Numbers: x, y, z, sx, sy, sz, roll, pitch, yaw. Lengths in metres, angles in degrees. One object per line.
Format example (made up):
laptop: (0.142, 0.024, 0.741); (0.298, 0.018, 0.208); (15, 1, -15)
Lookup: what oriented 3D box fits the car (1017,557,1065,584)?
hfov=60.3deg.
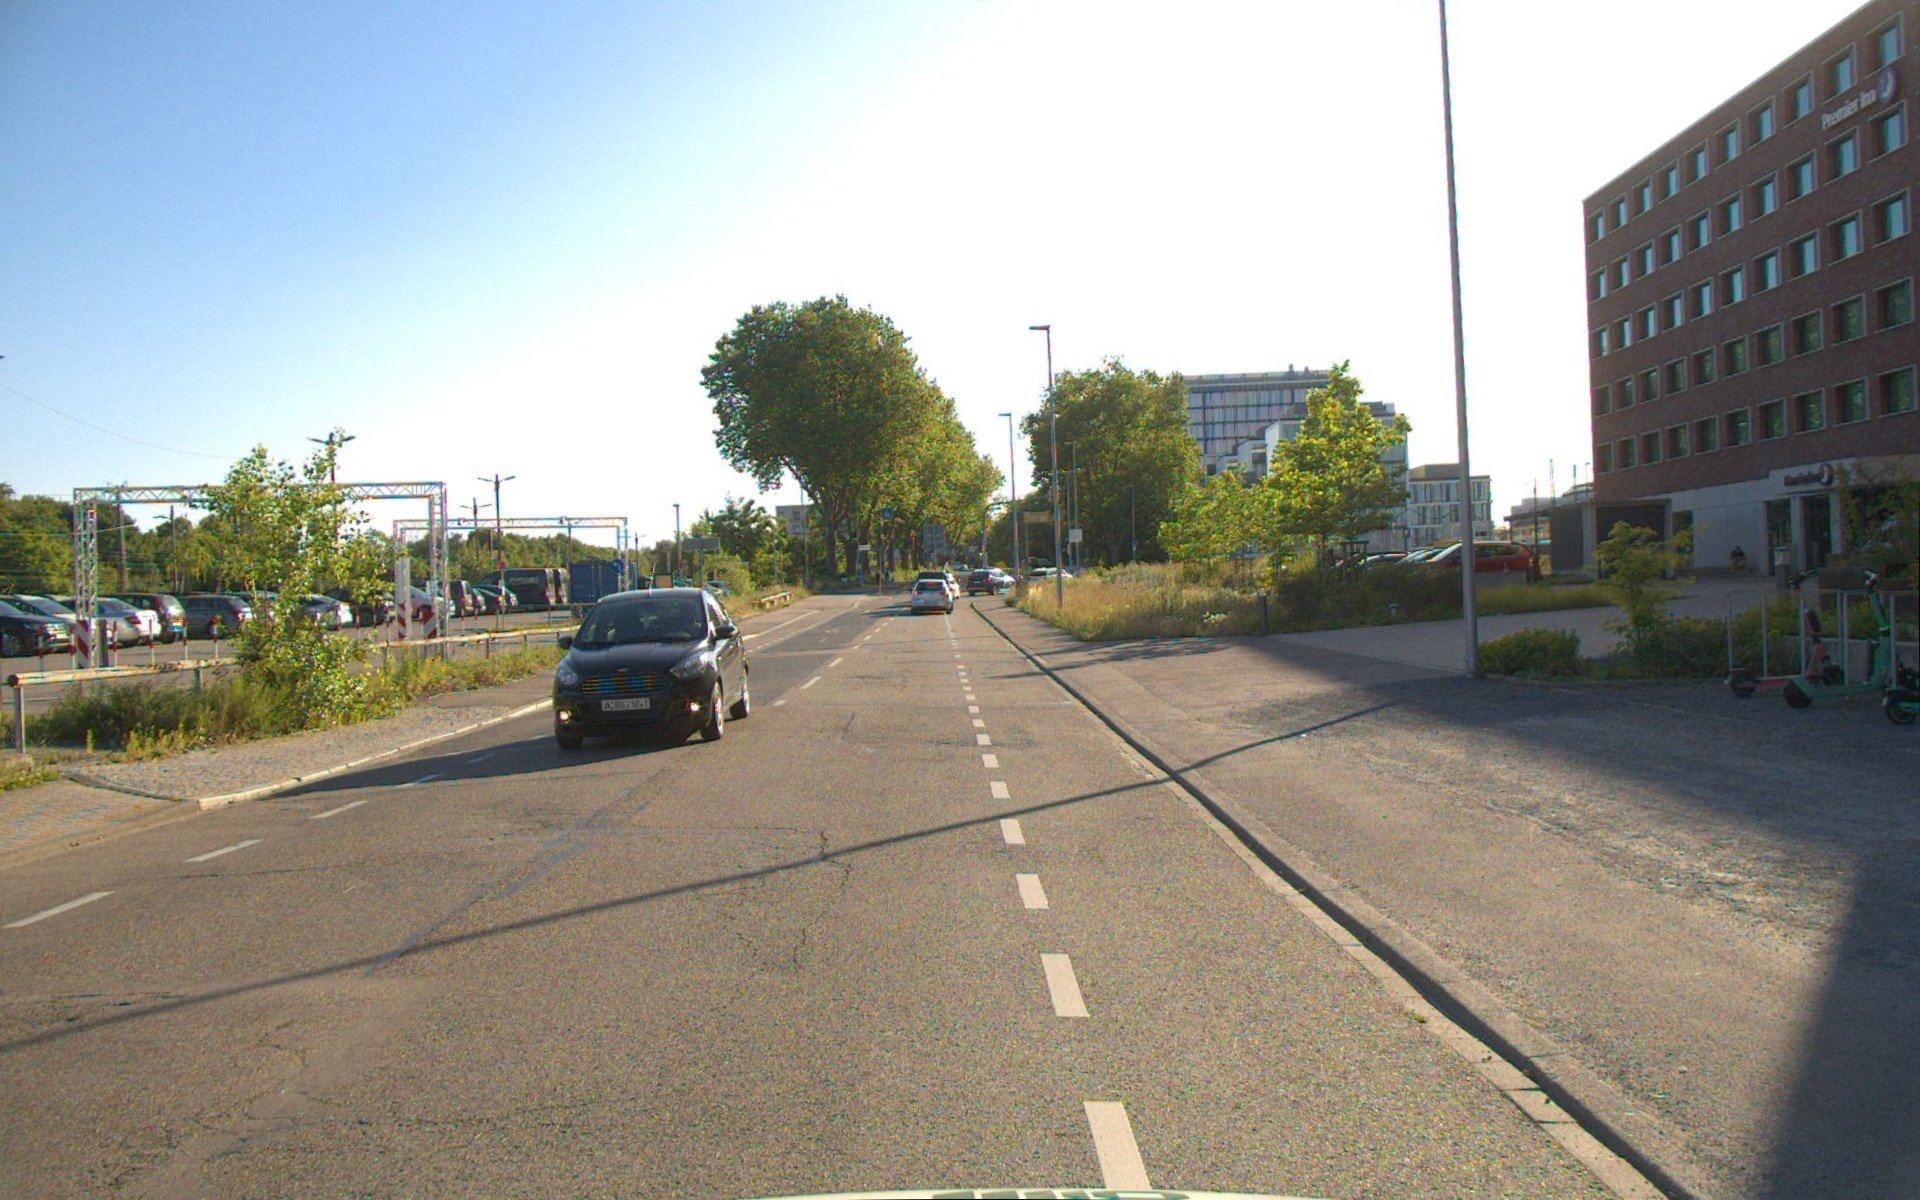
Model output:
car: (5.363, -1.943, 108.741); (2.118, 1.713, 4.002); (-1, 0, 18)

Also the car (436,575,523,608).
car: (-26.169, -0.466, 90.184); (4.122, 1.646, 1.878); (-2, 1, -2)

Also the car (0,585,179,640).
car: (-25.205, 0.342, 47.913); (4.233, 1.417, 1.878); (-2, 1, 0)

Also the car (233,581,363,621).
car: (-25.582, 0.034, 63.991); (4.234, 1.400, 1.878); (-2, 1, -2)

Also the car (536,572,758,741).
car: (-3.248, 0.523, 17.884); (1.620, 1.529, 3.999); (-3, 0, -1)

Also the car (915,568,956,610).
car: (-1.126, -0.536, 76.961); (1.782, 1.799, 4.630); (-2, 1, 0)

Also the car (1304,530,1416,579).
car: (15.394, -1.752, 63.770); (3.904, 1.735, 1.852); (-2, 1, 3)

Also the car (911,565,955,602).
car: (-1.119, -0.731, 70.738); (1.753, 1.445, 4.001); (-2, 1, 0)

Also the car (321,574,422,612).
car: (-26.222, -0.334, 73.800); (3.804, 1.546, 1.878); (-2, 1, -2)

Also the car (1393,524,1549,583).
car: (15.261, -1.373, 49.561); (4.097, 1.608, 1.852); (-2, 0, 3)

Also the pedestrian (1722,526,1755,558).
pedestrian: (33.233, -2.470, 70.639); (0.910, 1.333, 1.010); (-2, 1, 0)

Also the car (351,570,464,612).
car: (-25.590, -0.430, 76.669); (4.484, 1.771, 2.059); (-1, 1, 3)

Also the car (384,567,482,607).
car: (-26.230, -0.653, 82.355); (4.234, 1.822, 1.878); (-2, 1, -2)

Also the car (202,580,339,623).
car: (-25.461, 0.042, 61.198); (4.234, 1.400, 1.878); (-2, 1, -2)

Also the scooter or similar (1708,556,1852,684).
scooter or similar: (8.198, 0.197, 16.561); (1.217, 1.215, 0.340); (-3, 1, 3)

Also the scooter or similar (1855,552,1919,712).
scooter or similar: (8.099, 0.236, 13.493); (1.312, 1.267, 0.424); (-3, 1, 3)

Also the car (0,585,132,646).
car: (-25.312, 0.430, 45.321); (4.233, 1.550, 1.878); (-2, 1, 0)

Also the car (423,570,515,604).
car: (-25.984, -0.679, 87.621); (4.234, 1.646, 1.878); (-2, 1, -2)

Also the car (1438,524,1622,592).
car: (14.646, -1.081, 42.647); (4.097, 1.608, 1.852); (-2, 1, 3)

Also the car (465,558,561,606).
car: (-25.709, -1.027, 95.233); (4.827, 2.502, 2.319); (-2, 1, -2)

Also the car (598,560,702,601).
car: (-15.367, -0.974, 82.150); (4.747, 1.866, 2.000); (-2, 1, -2)

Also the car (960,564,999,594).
car: (1.230, -1.280, 101.766); (2.118, 1.713, 4.002); (-2, 1, 4)

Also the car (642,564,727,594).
car: (-15.507, -1.197, 93.349); (4.450, 1.584, 1.878); (-2, 1, -2)

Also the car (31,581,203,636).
car: (-25.670, 0.250, 50.481); (4.233, 1.488, 1.878); (-2, 1, 0)

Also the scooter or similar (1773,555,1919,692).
scooter or similar: (8.119, 0.206, 15.051); (1.217, 1.175, 0.366); (-3, 1, 3)

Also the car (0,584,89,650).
car: (-25.360, 0.462, 42.912); (4.482, 1.612, 1.857); (-2, 1, 0)

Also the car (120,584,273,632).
car: (-25.720, 0.267, 55.814); (4.234, 1.444, 1.878); (-2, 1, -2)

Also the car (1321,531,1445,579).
car: (15.479, -1.660, 60.620); (4.097, 1.608, 1.852); (-2, 1, 3)

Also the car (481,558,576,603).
car: (-25.520, -1.177, 97.918); (4.993, 2.502, 2.319); (-2, 1, -2)

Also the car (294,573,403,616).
car: (-25.638, -0.234, 69.410); (3.804, 1.631, 1.878); (-2, 1, -2)

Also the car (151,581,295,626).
car: (-26.102, 0.111, 58.681); (4.234, 1.444, 1.878); (-2, 1, -2)
